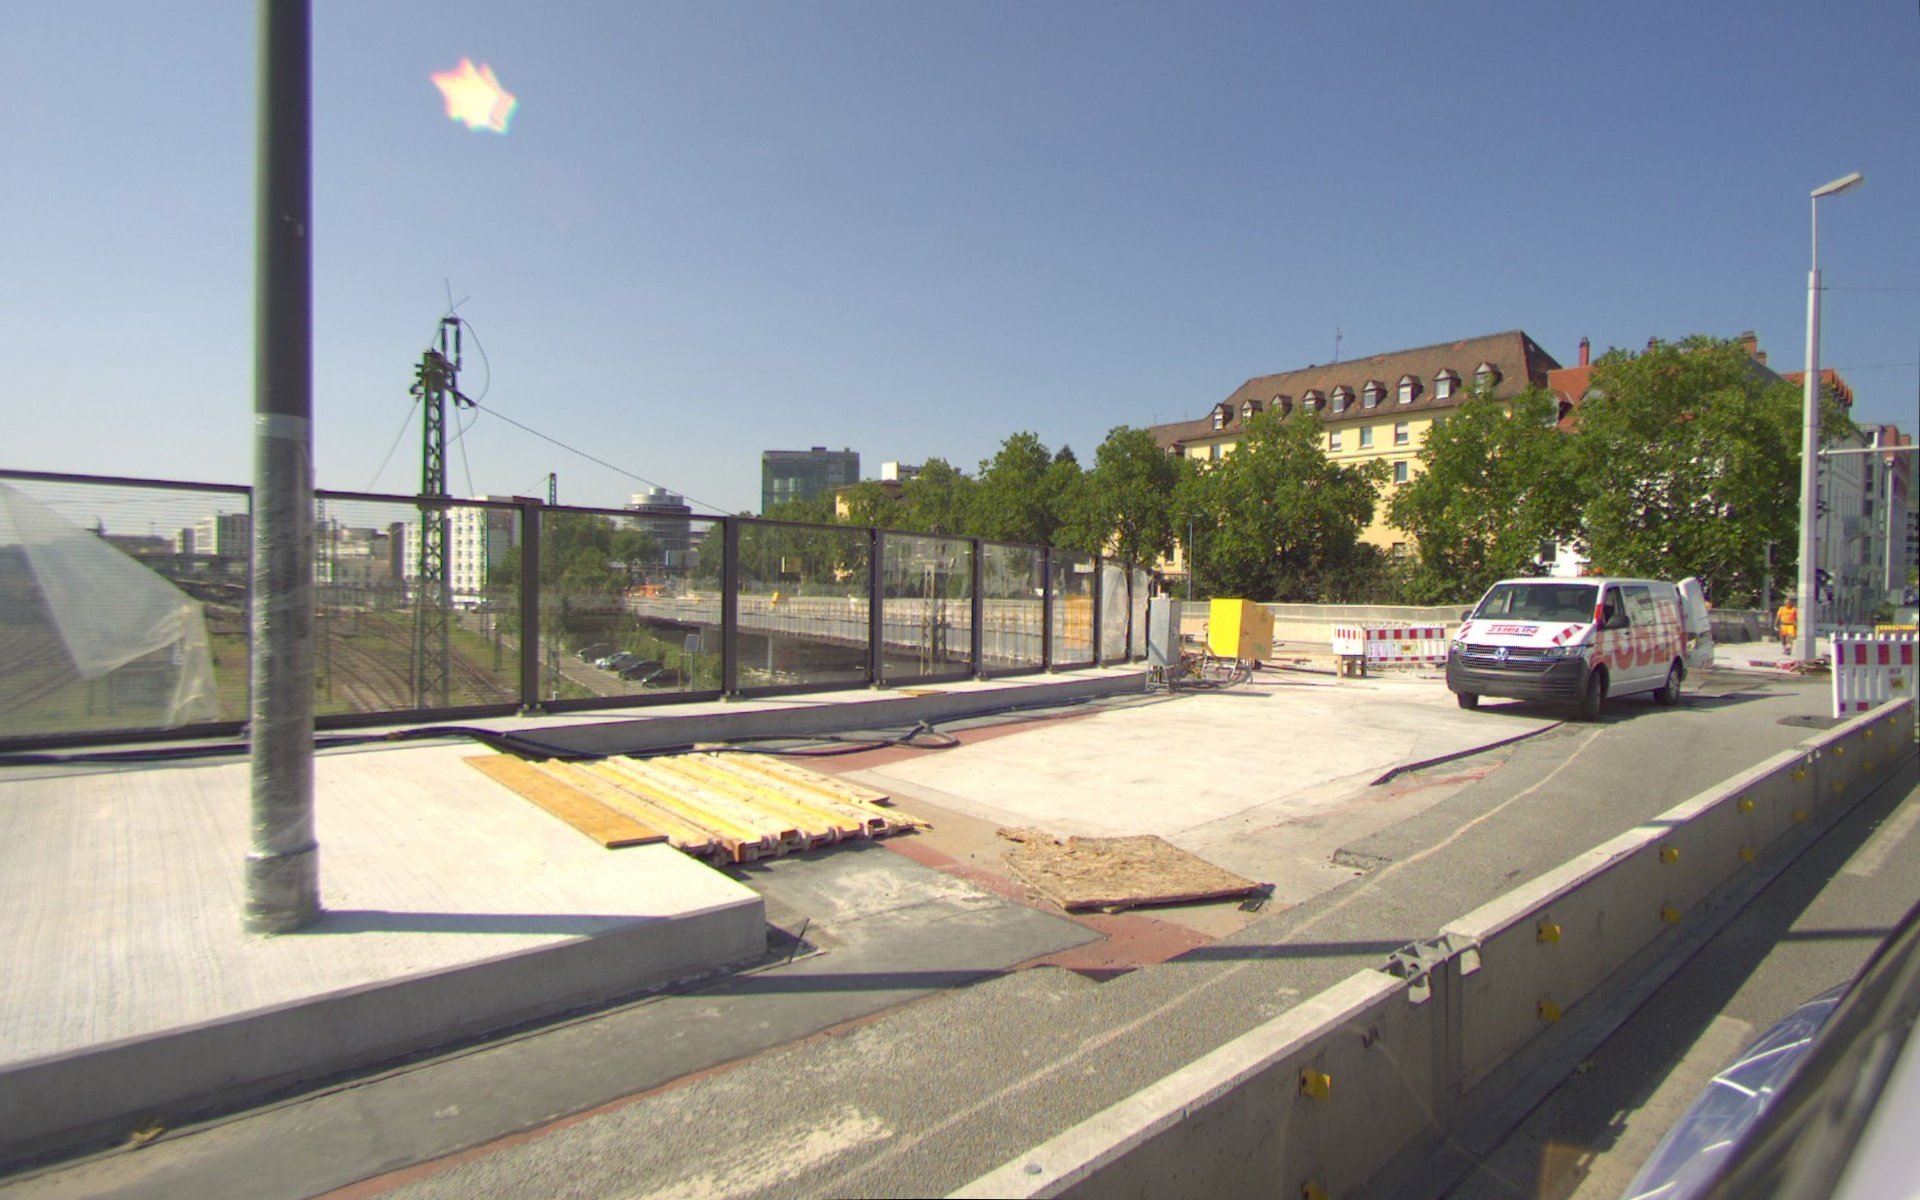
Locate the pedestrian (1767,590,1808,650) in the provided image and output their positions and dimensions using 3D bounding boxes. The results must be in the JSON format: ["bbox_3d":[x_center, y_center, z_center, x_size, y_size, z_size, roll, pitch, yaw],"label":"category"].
[{"bbox_3d":[26.220,0.626,32.063,0.849,1.817,0.821,1,2,-42],"label":"pedestrian"}]

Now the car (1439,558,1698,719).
[{"bbox_3d":[9.270,0.490,15.244,4.803,2.059,1.882,0,0,-40],"label":"car"}]

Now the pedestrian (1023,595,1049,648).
[{"bbox_3d":[3.430,0.970,45.685,0.867,2.363,0.792,-4,-3,24],"label":"pedestrian"}]

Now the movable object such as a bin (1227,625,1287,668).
[{"bbox_3d":[6.805,1.064,23.228,1.083,0.853,0.757,4,0,-1],"label":"movable object such as a bin"}]
